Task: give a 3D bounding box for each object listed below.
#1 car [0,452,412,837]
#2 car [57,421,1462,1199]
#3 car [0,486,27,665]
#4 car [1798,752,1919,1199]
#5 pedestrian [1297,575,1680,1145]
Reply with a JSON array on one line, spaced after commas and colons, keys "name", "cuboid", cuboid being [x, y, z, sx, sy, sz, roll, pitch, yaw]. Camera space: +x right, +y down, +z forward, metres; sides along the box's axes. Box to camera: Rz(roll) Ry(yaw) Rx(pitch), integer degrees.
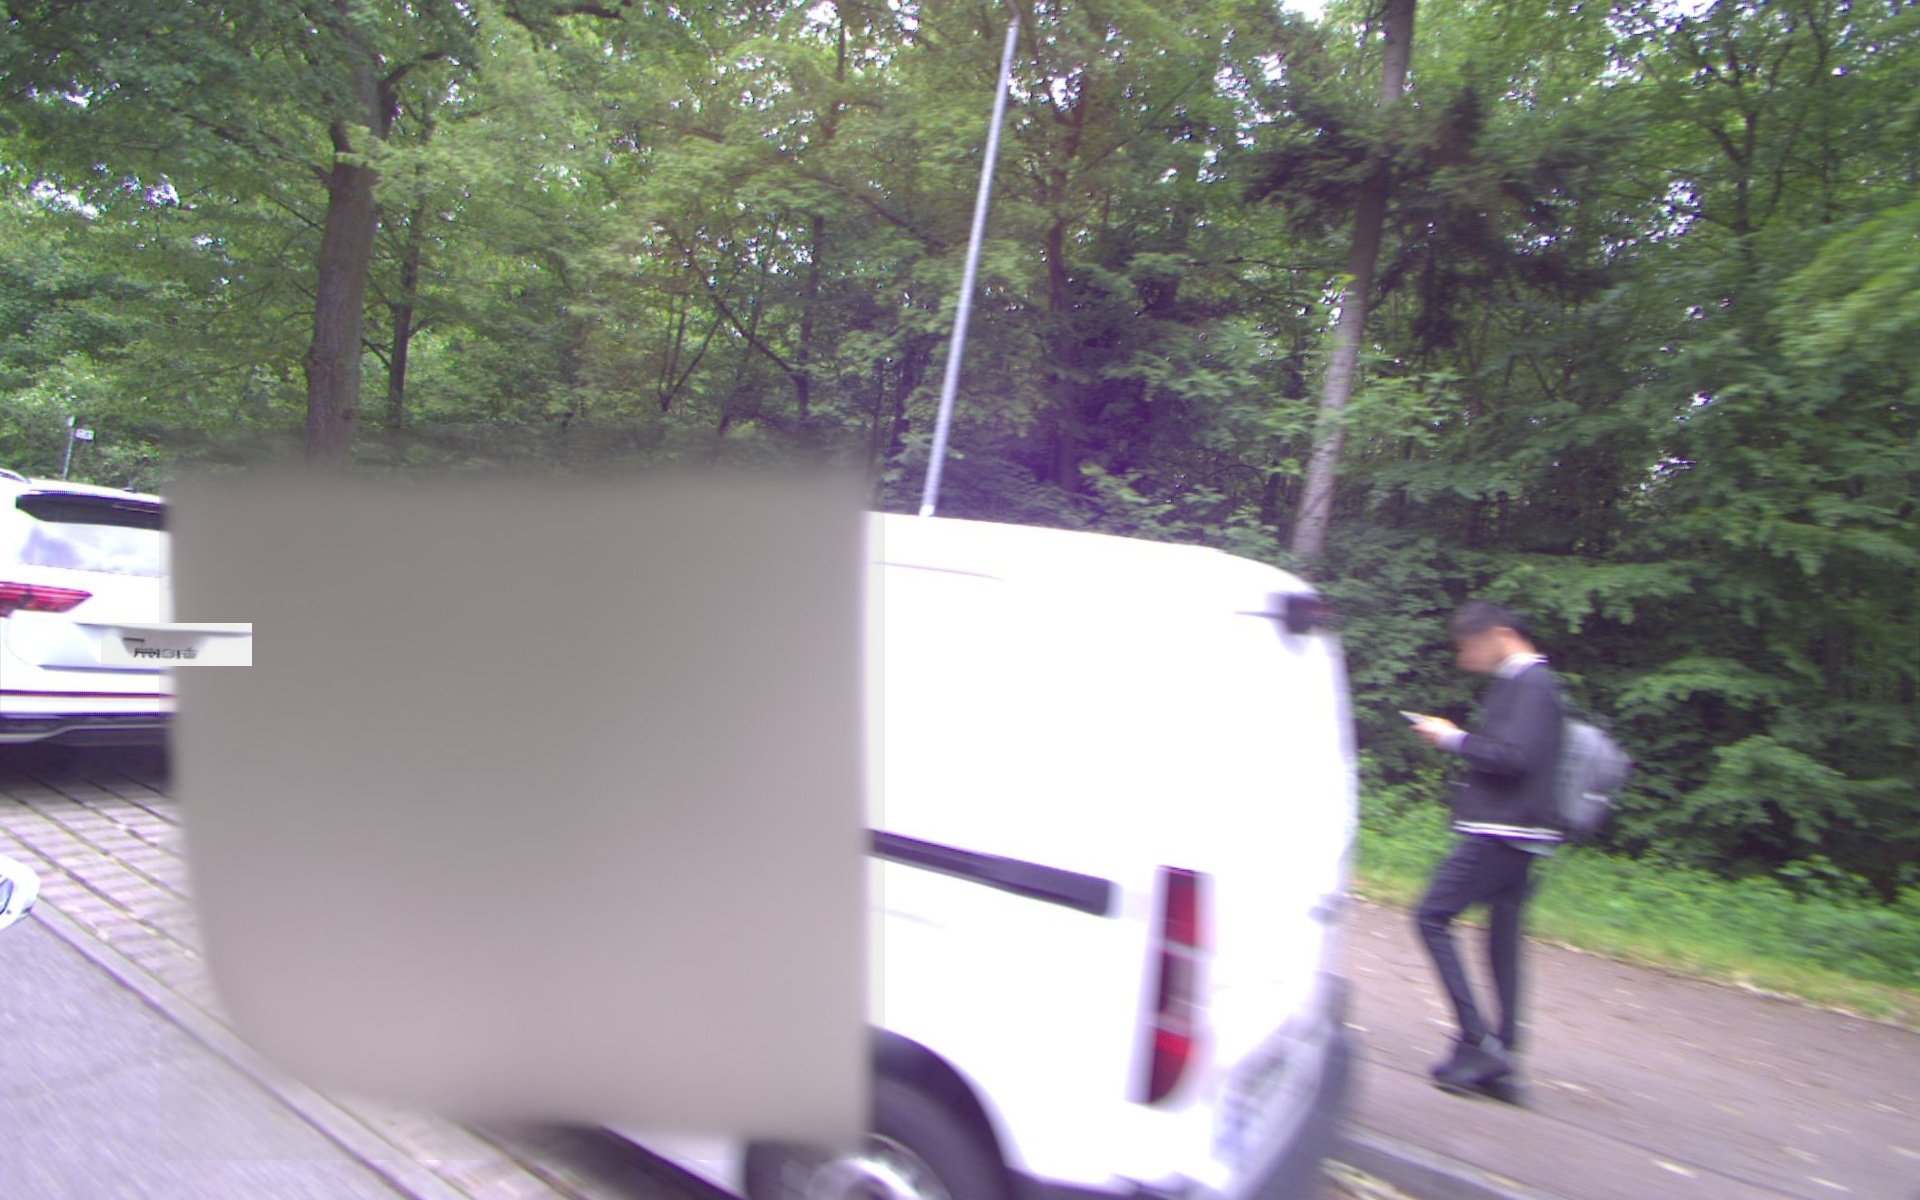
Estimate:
[{"name": "car", "cuboid": [-5.773, 0.042, 6.254, 4.636, 1.681, 1.790, 7, -2, 29]}, {"name": "car", "cuboid": [-0.918, 0.544, 3.435, 4.474, 1.800, 1.749, 7, -2, 30]}, {"name": "car", "cuboid": [-11.015, -0.532, 9.580, 4.370, 1.626, 1.755, 7, -2, 30]}, {"name": "car", "cuboid": [3.467, 1.213, 0.648, 4.213, 1.439, 1.729, 7, -2, 32]}, {"name": "pedestrian", "cuboid": [1.987, 0.865, 3.825, 0.987, 1.745, 0.819, 7, -2, 32]}]
